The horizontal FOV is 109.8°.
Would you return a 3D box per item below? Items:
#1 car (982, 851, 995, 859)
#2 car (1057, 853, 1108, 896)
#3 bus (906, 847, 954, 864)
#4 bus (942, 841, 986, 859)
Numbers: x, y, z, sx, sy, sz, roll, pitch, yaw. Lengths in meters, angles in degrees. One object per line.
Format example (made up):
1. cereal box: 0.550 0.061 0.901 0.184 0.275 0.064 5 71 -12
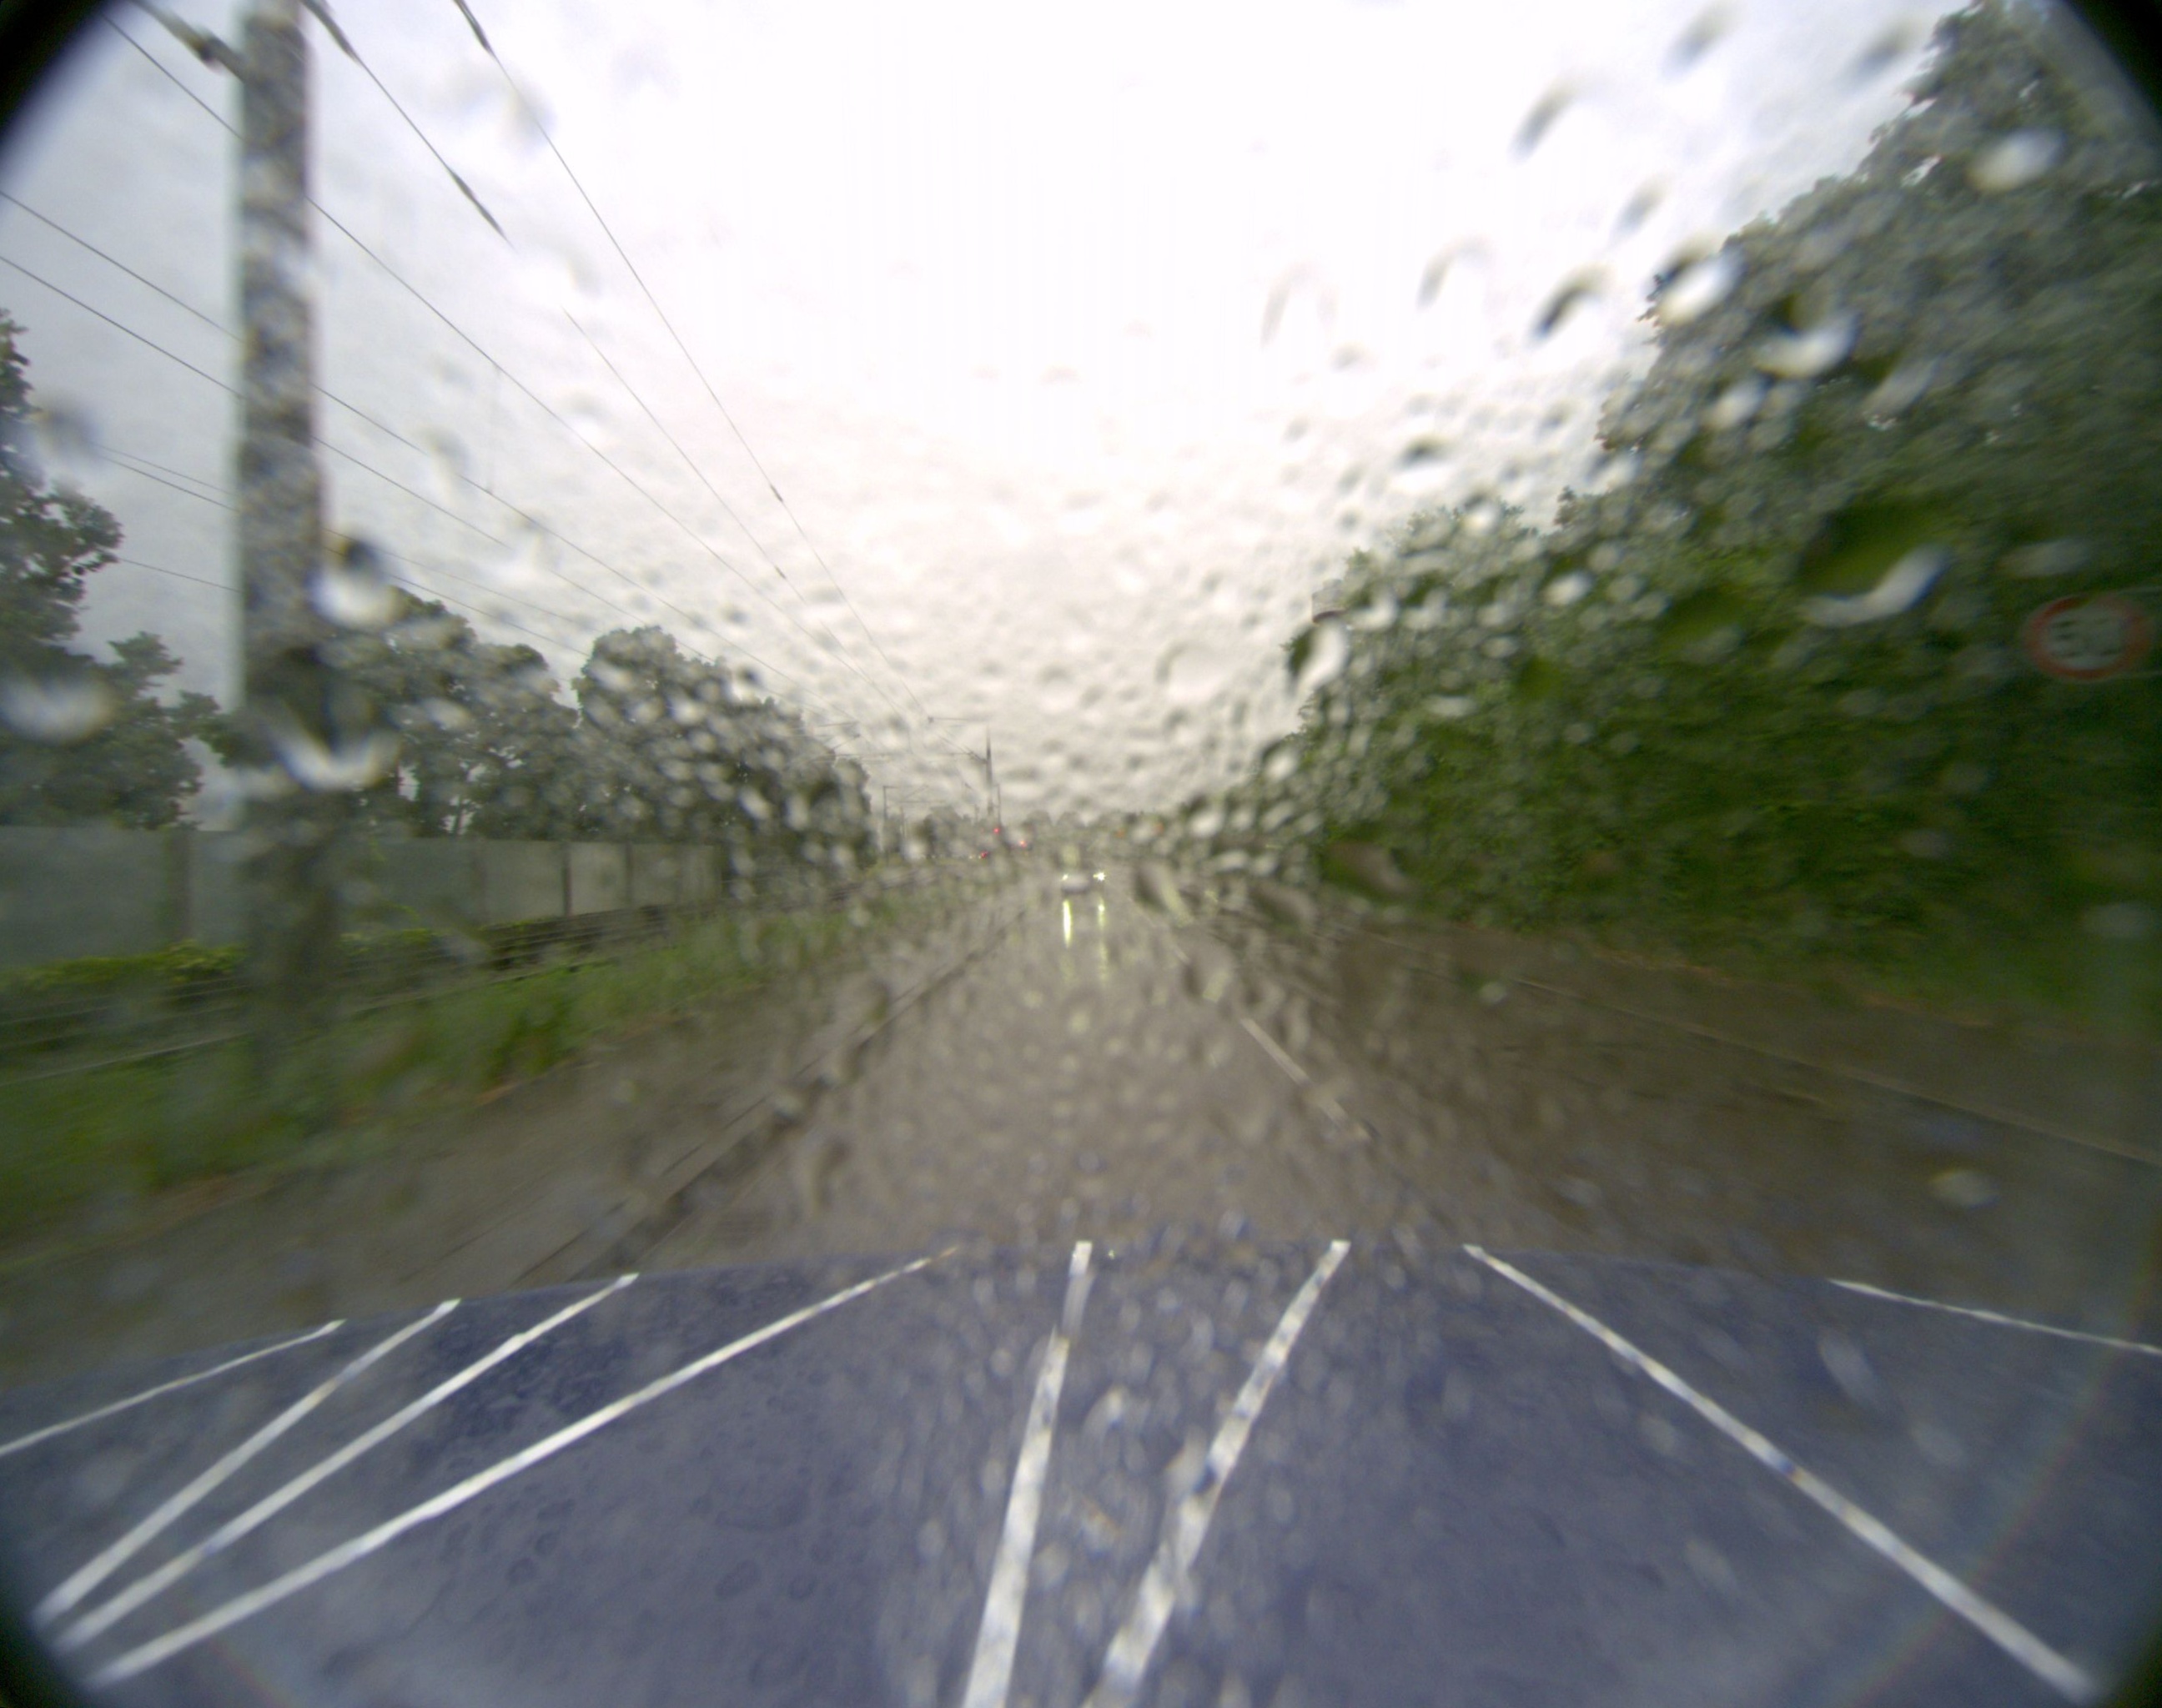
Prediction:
1. car: -17.992 0.164 147.352 1.769 1.528 3.871 -1 1 -17
2. car: 0.045 0.828 32.692 1.998 1.623 3.999 -2 1 0
3. bus: -28.734 0.310 144.406 9.967 3.060 2.683 -1 1 34
4. bus: -21.354 -0.653 137.937 2.683 3.060 9.967 -3 1 -42
